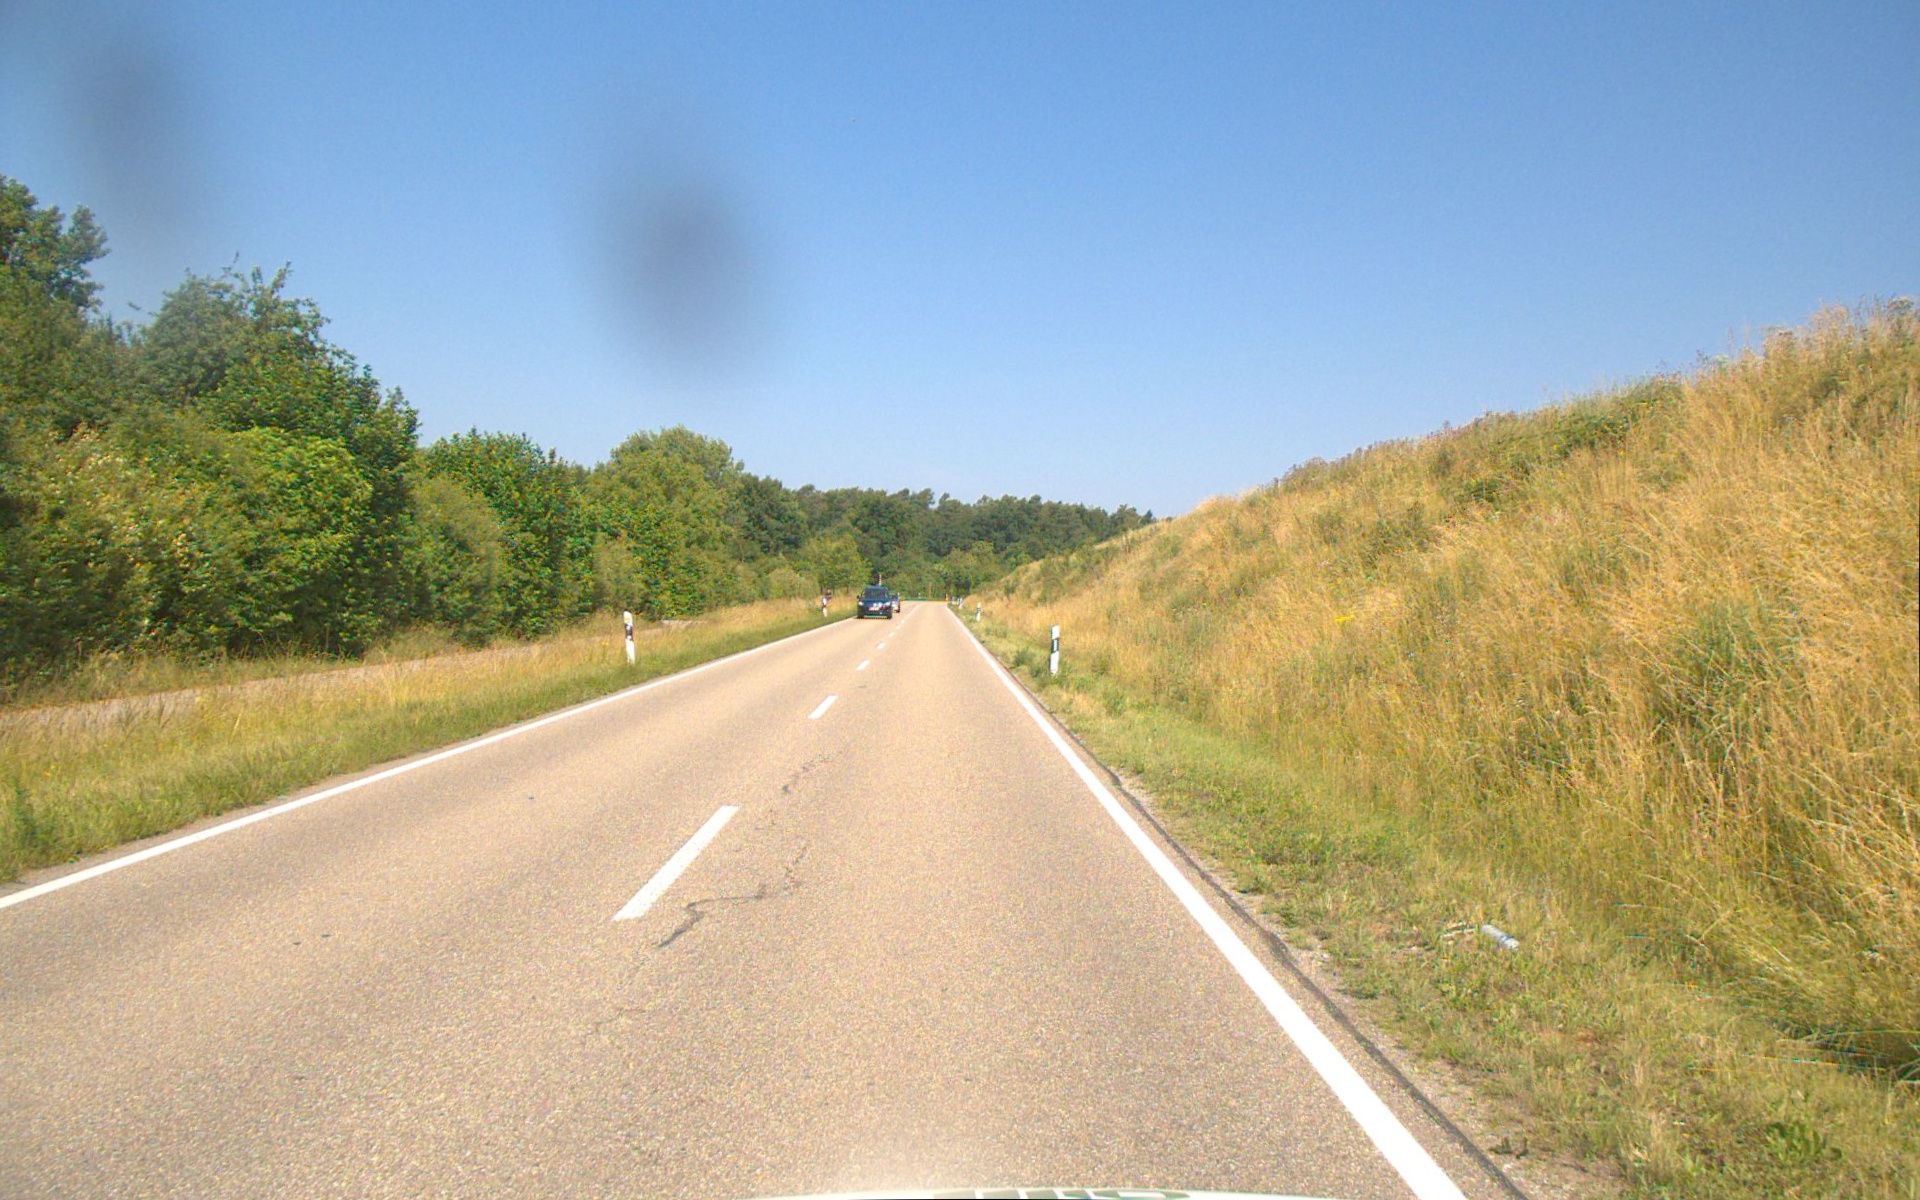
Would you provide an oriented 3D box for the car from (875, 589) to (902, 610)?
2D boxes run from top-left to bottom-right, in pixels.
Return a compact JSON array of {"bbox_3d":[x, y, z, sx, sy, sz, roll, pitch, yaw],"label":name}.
[{"bbox_3d":[-4.968,-0.047,115.397,1.688,1.377,3.999,2,0,-1],"label":"car"}]

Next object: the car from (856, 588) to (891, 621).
[{"bbox_3d":[-4.561,0.212,87.513,1.681,1.675,3.913,1,0,-2],"label":"car"}]
